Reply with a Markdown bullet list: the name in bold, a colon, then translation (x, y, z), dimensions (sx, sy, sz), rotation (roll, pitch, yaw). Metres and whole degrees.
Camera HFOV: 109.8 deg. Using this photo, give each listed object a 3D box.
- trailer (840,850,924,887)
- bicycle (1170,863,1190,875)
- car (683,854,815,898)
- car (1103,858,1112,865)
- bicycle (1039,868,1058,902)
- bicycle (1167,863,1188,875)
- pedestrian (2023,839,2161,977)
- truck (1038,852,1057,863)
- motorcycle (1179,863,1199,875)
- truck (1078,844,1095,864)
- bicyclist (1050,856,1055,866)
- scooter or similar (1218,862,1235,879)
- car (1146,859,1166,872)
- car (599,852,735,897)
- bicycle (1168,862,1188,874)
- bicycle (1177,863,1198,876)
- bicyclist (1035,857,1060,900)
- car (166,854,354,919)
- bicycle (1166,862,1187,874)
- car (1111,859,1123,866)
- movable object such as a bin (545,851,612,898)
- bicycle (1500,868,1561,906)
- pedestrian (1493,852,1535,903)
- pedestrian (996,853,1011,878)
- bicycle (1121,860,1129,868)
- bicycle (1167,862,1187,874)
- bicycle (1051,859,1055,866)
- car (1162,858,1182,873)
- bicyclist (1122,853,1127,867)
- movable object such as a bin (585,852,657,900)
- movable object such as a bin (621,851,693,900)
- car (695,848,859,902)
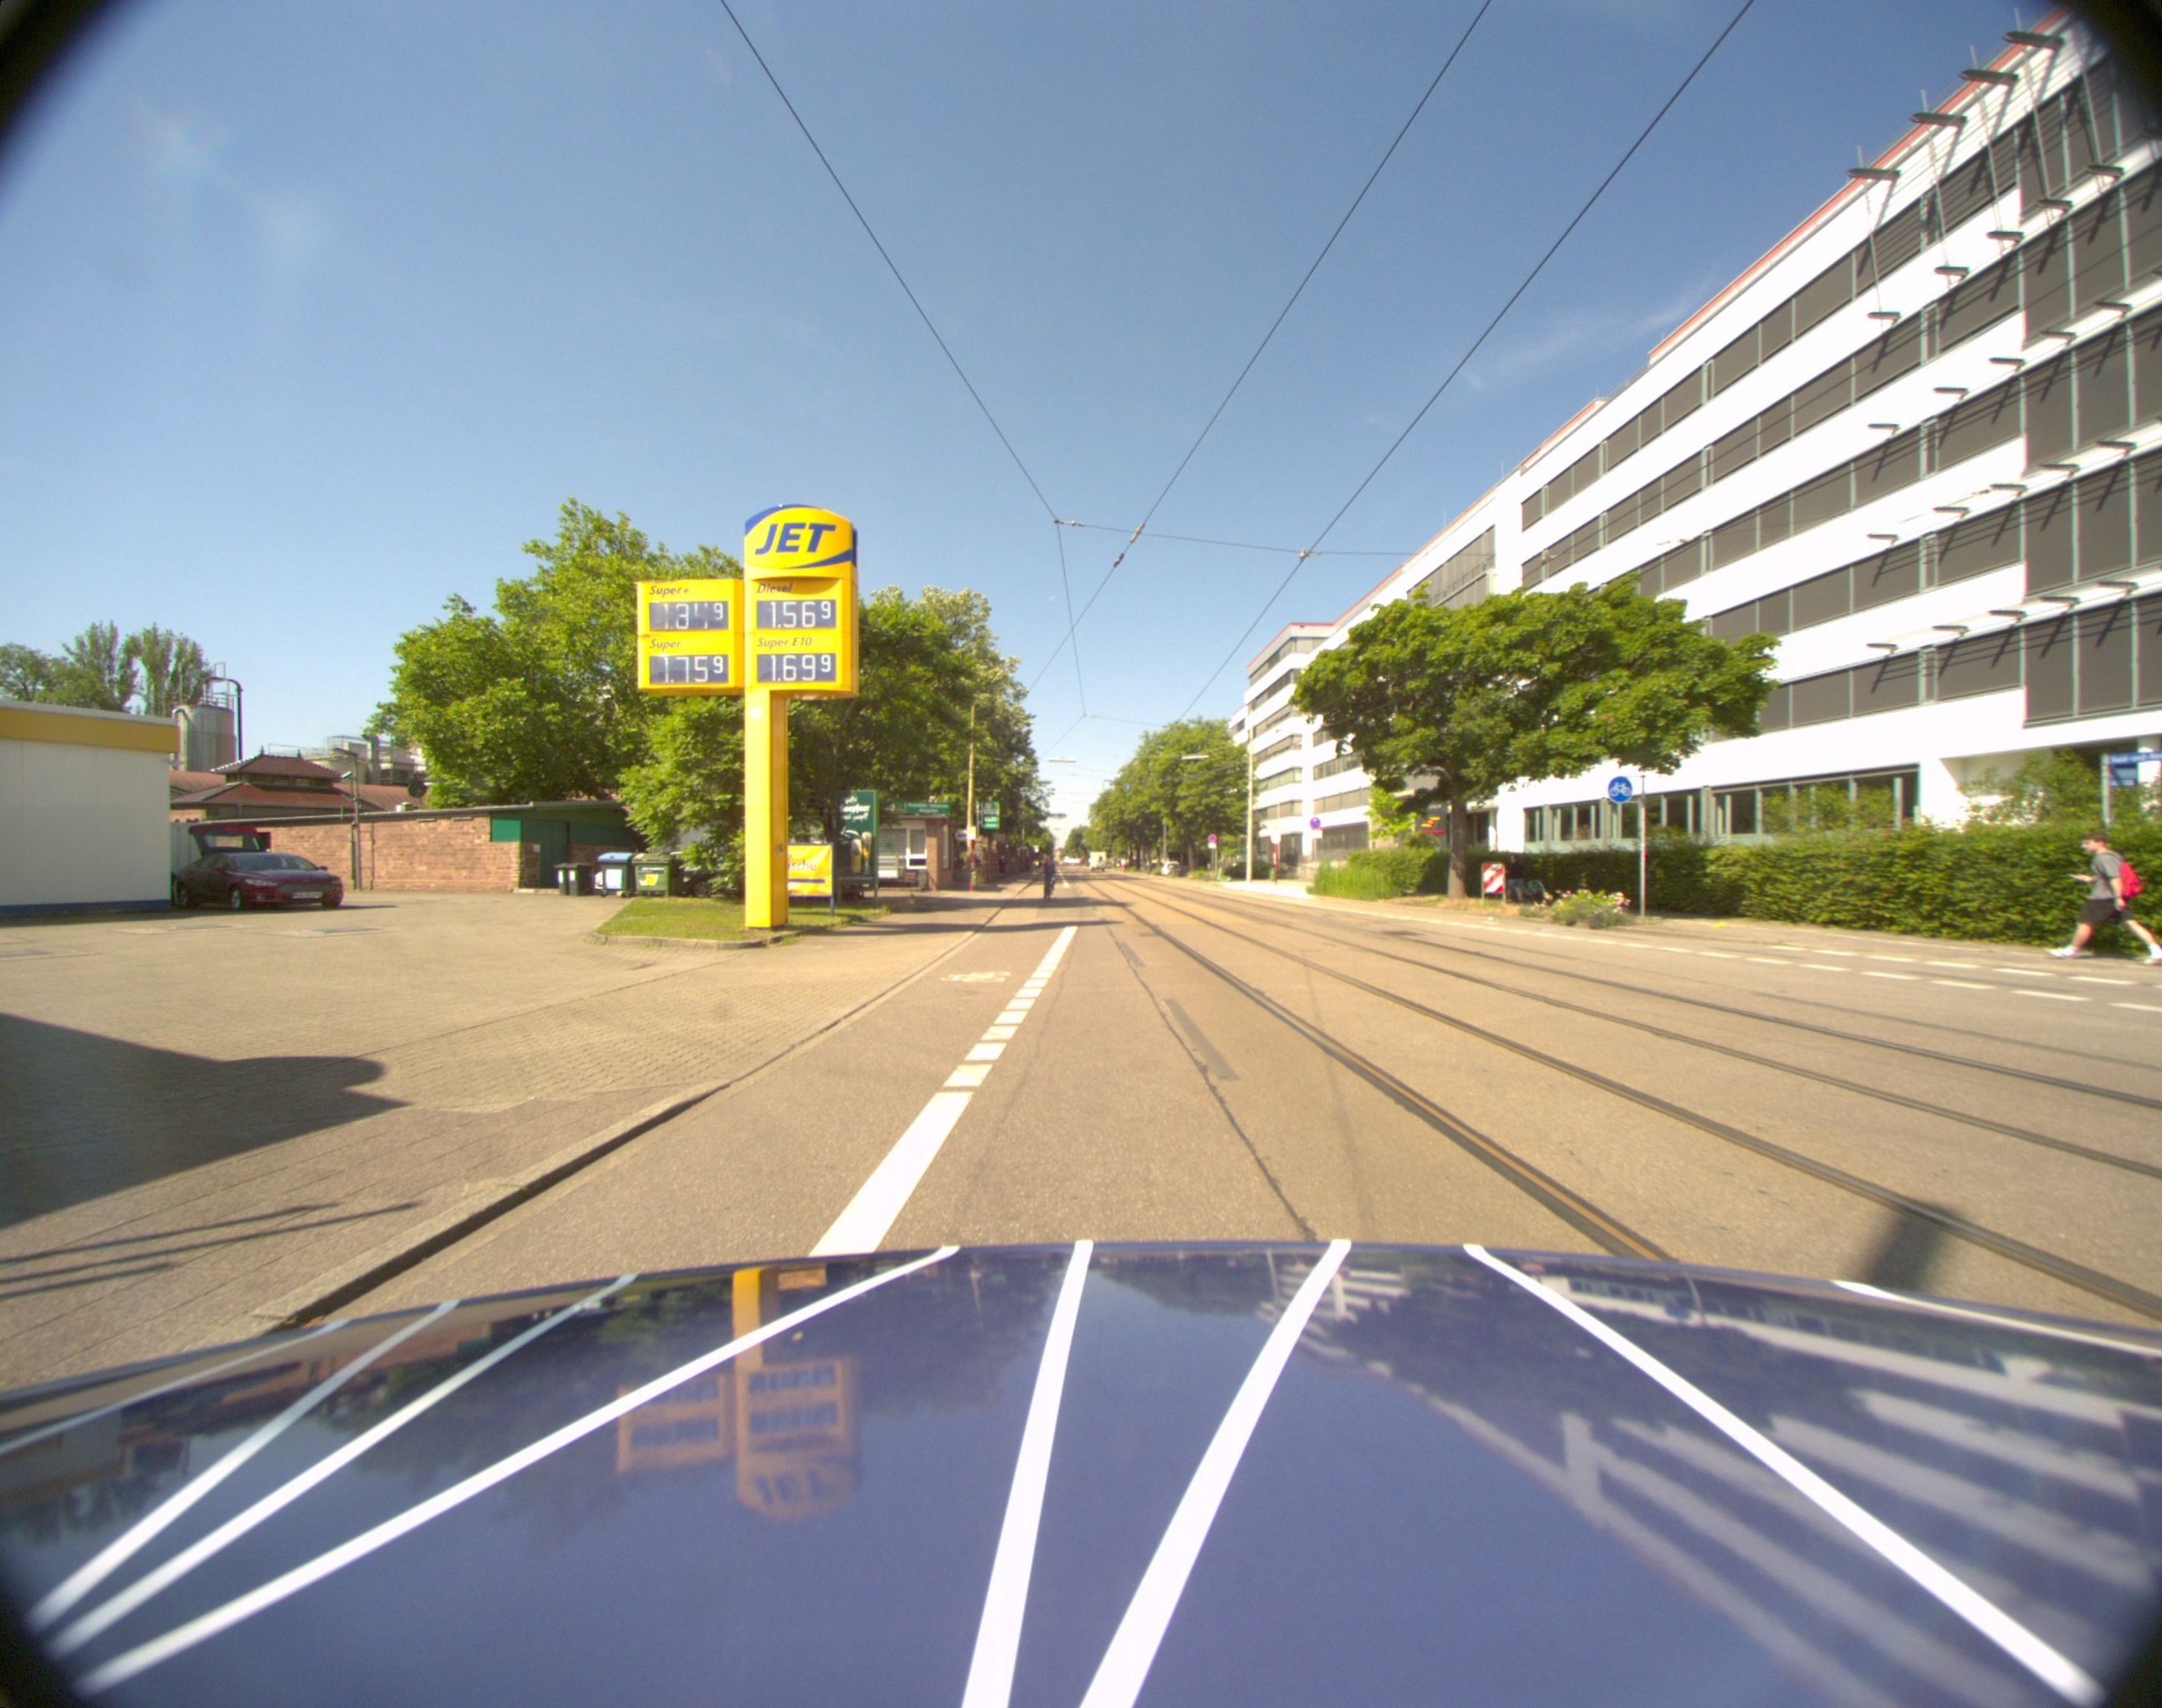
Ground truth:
- **trailer**: translation (-8.855, 0.640, 34.027), dimensions (3.282, 1.594, 1.723), rotation (0, 0, 0)
- **bicycle**: translation (9.229, 1.377, 71.051), dimensions (1.729, 1.080, 0.639), rotation (0, 0, -2)
- **car**: translation (-11.965, 0.741, 27.561), dimensions (1.842, 1.465, 4.009), rotation (1, 0, 42)
- **car**: translation (5.669, 1.478, 160.945), dimensions (1.634, 1.463, 4.113), rotation (0, 0, -1)
- **bicycle**: translation (-1.243, 1.150, 28.813), dimensions (0.611, 1.190, 2.122), rotation (-3, 0, -3)
- **bicycle**: translation (9.183, 1.383, 72.466), dimensions (1.854, 1.125, 0.680), rotation (0, 0, -2)
- **pedestrian**: translation (14.150, 0.708, 10.553), dimensions (0.893, 1.807, 1.072), rotation (0, 0, -17)
- **truck**: translation (-11.379, 1.139, 257.564), dimensions (2.815, 3.836, 10.016), rotation (0, 0, 21)
- **motorcycle**: translation (9.857, 1.357, 69.673), dimensions (1.729, 1.080, 0.658), rotation (0, 0, -2)
- **truck**: translation (0.803, 0.058, 119.831), dimensions (2.409, 3.090, 6.036), rotation (0, 0, -2)
- **bicyclist**: translation (-4.553, 1.092, 122.242), dimensions (0.742, 1.522, 0.947), rotation (0, 0, -1)
- **scooter or similar**: translation (10.343, 1.161, 54.084), dimensions (1.128, 1.159, 0.676), rotation (0, 0, 1)
- **car**: translation (8.840, 1.336, 90.102), dimensions (1.634, 1.474, 4.271), rotation (0, 0, -4)
- **car**: translation (-15.140, 0.706, 27.951), dimensions (1.842, 1.548, 4.009), rotation (1, 0, 42)
- **bicycle**: translation (9.174, 1.310, 71.935), dimensions (1.797, 1.080, 0.726), rotation (0, 0, -2)
- **bicycle**: translation (9.423, 1.365, 67.444), dimensions (1.729, 1.080, 0.789), rotation (0, 0, -2)
- **bicyclist**: translation (-1.255, 0.891, 28.559), dimensions (0.906, 1.586, 0.964), rotation (0, 0, -2)
- **car**: translation (-21.060, 0.761, 19.483), dimensions (4.544, 1.452, 1.896), rotation (0, 1, 25)
- **bicycle**: translation (9.264, 1.320, 73.794), dimensions (1.909, 1.162, 0.819), rotation (0, 0, -2)
- **car**: translation (6.584, 1.535, 139.468), dimensions (1.634, 1.347, 3.900), rotation (0, 0, -3)
- **movable object such as a bin**: translation (-16.599, 0.668, 25.101), dimensions (1.326, 1.493, 1.333), rotation (-2, 0, 27)
- **bicycle**: translation (14.084, 1.003, 23.881), dimensions (0.637, 1.111, 2.066), rotation (0, 0, -2)
- **pedestrian**: translation (13.603, 0.714, 23.898), dimensions (0.688, 1.554, 0.988), rotation (-2, 0, -6)
- **pedestrian**: translation (-5.706, 0.815, 55.683), dimensions (0.979, 1.805, 1.185), rotation (-1, 0, -1)
- **bicycle**: translation (5.995, 1.327, 104.105), dimensions (0.858, 1.103, 2.139), rotation (0, 0, -2)
- **bicycle**: translation (9.244, 1.338, 73.146), dimensions (1.878, 1.135, 0.686), rotation (0, 0, -2)
- **bicycle**: translation (-4.528, 1.356, 122.293), dimensions (0.593, 1.099, 2.054), rotation (0, 0, -1)
- **car**: translation (9.299, 1.132, 77.758), dimensions (1.634, 1.463, 3.630), rotation (0, 0, 0)
- **bicyclist**: translation (5.988, 0.797, 104.101), dimensions (0.637, 1.860, 1.024), rotation (0, 0, -2)
- **movable object such as a bin**: translation (-14.783, 0.679, 24.473), dimensions (1.419, 1.493, 1.381), rotation (0, 0, 15)
- **movable object such as a bin**: translation (-13.130, 0.648, 23.595), dimensions (1.421, 1.493, 1.379), rotation (0, 0, 2)
- **car**: translation (-10.033, 0.634, 25.364), dimensions (2.014, 1.631, 4.670), rotation (1, 0, 42)
